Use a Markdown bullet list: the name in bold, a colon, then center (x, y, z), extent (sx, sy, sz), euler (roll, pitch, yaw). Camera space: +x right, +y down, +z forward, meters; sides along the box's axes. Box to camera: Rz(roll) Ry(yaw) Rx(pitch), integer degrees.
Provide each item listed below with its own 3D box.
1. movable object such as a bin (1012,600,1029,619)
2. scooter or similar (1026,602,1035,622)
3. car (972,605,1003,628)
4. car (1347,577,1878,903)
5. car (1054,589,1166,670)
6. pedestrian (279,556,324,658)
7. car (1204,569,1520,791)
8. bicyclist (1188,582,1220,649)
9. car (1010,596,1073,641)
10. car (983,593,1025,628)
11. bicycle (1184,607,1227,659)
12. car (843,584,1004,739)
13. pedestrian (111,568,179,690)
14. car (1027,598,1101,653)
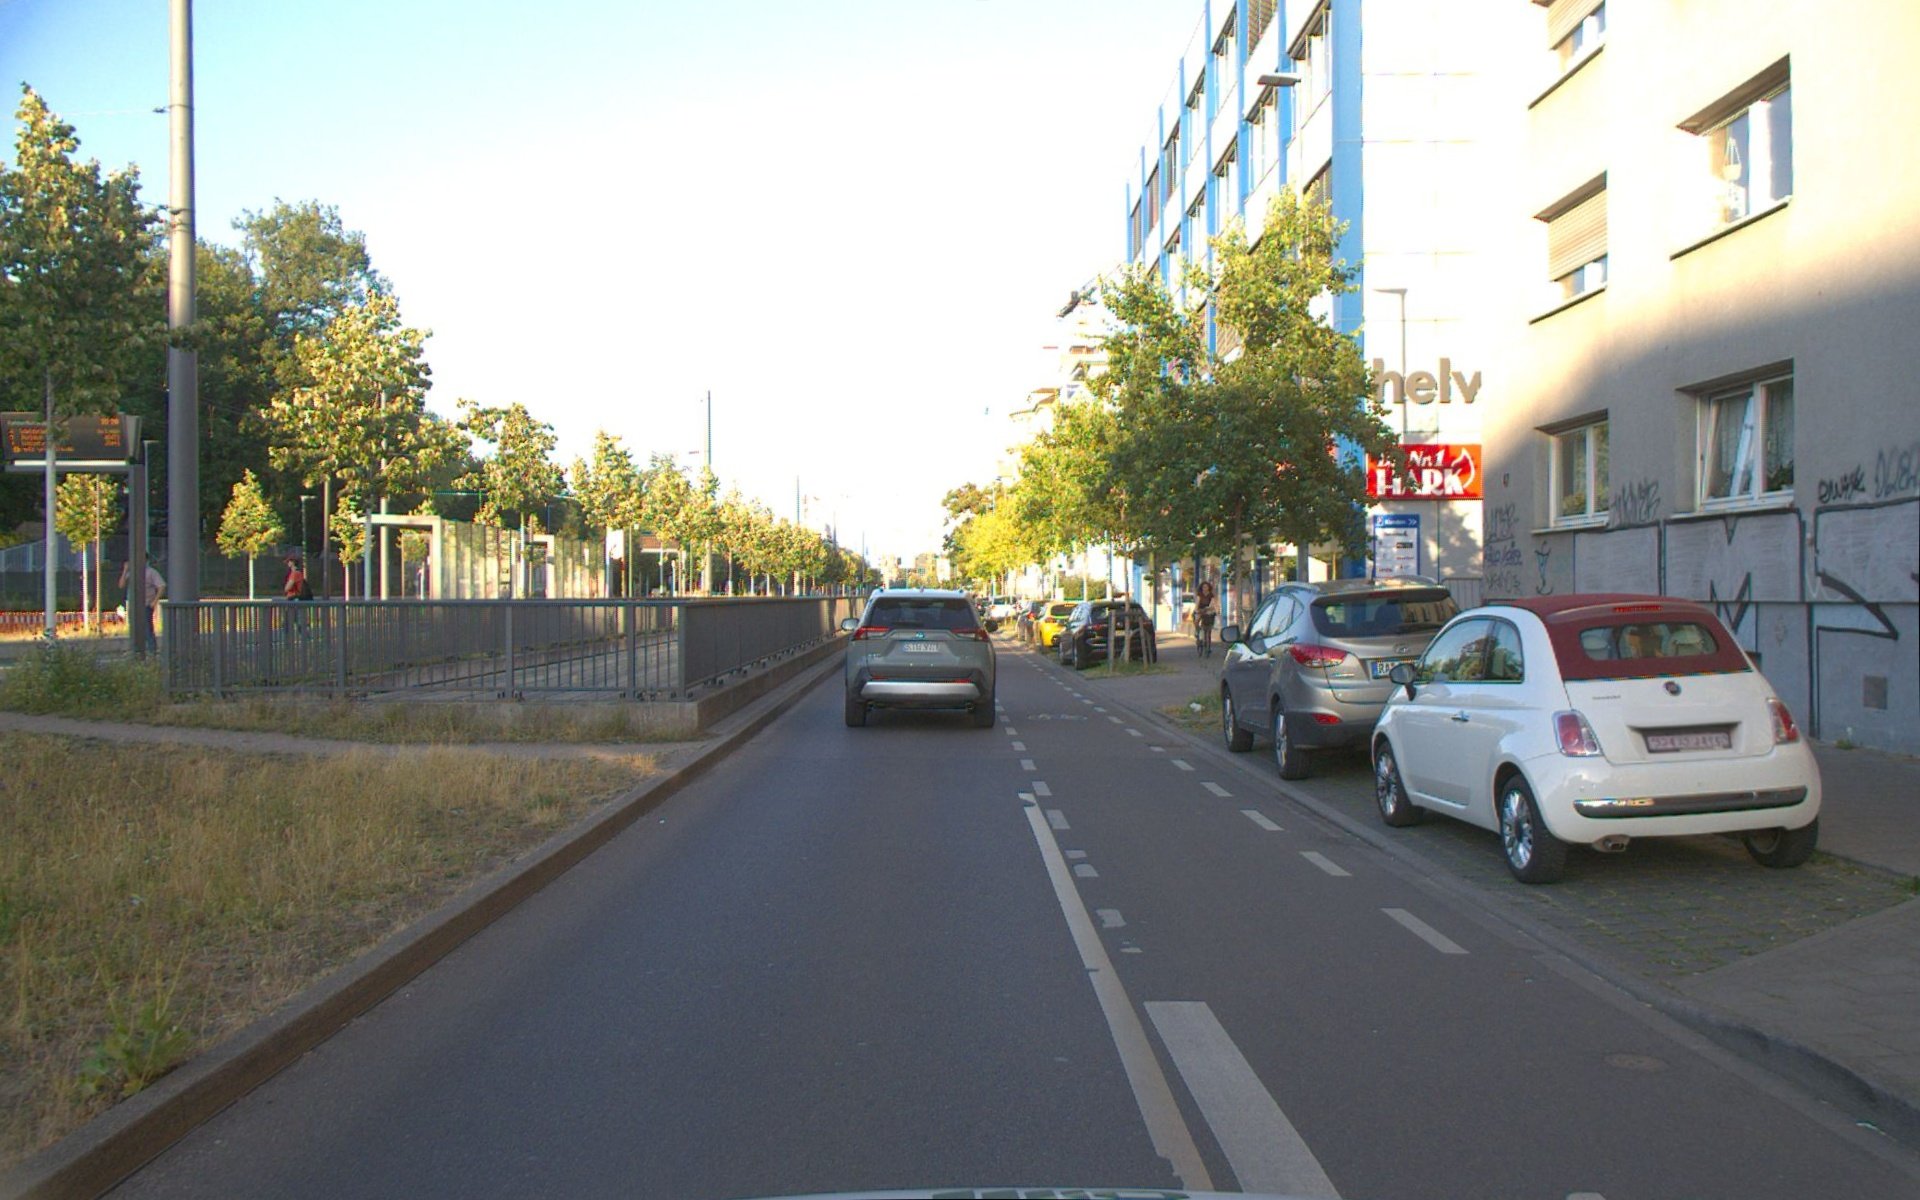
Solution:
- **movable object such as a bin**: center (4.854, 0.748, 132.758), extent (1.235, 1.488, 1.123), euler (0, 0, -4)
- **scooter or similar**: center (4.639, 0.792, 108.706), extent (0.481, 1.280, 1.207), euler (1, -1, -5)
- **car**: center (1.915, 1.165, 116.858), extent (1.757, 1.496, 4.441), euler (-3, 0, -4)
- **car**: center (3.767, 0.713, 10.259), extent (1.636, 1.544, 3.599), euler (-4, 0, -3)
- **car**: center (3.332, 0.637, 37.568), extent (1.783, 1.594, 4.807), euler (-4, 0, -3)
- **pedestrian**: center (-11.526, 0.120, 28.960), extent (0.623, 1.759, 0.634), euler (-1, 0, -14)
- **car**: center (3.552, 0.634, 15.496), extent (1.721, 1.683, 4.527), euler (-3, 0, -1)
- **bicyclist**: center (5.654, 0.358, 38.356), extent (0.547, 1.501, 0.622), euler (-3, -1, -3)
- **car**: center (2.824, 0.644, 58.052), extent (1.783, 1.480, 4.126), euler (-1, 0, -3)
- **car**: center (2.316, 0.530, 87.480), extent (1.817, 1.736, 4.251), euler (-3, 0, -3)
- **bicycle**: center (5.684, 0.748, 38.326), extent (0.543, 1.149, 1.973), euler (-3, 0, -3)
- **car**: center (-0.527, 0.725, 21.223), extent (1.821, 1.744, 4.190), euler (1, 0, -3)
- **pedestrian**: center (-12.080, 0.423, 24.526), extent (0.711, 1.775, 0.635), euler (-1, 1, -9)
- **car**: center (2.979, 0.715, 47.896), extent (1.650, 1.480, 4.127), euler (-1, 0, -3)
